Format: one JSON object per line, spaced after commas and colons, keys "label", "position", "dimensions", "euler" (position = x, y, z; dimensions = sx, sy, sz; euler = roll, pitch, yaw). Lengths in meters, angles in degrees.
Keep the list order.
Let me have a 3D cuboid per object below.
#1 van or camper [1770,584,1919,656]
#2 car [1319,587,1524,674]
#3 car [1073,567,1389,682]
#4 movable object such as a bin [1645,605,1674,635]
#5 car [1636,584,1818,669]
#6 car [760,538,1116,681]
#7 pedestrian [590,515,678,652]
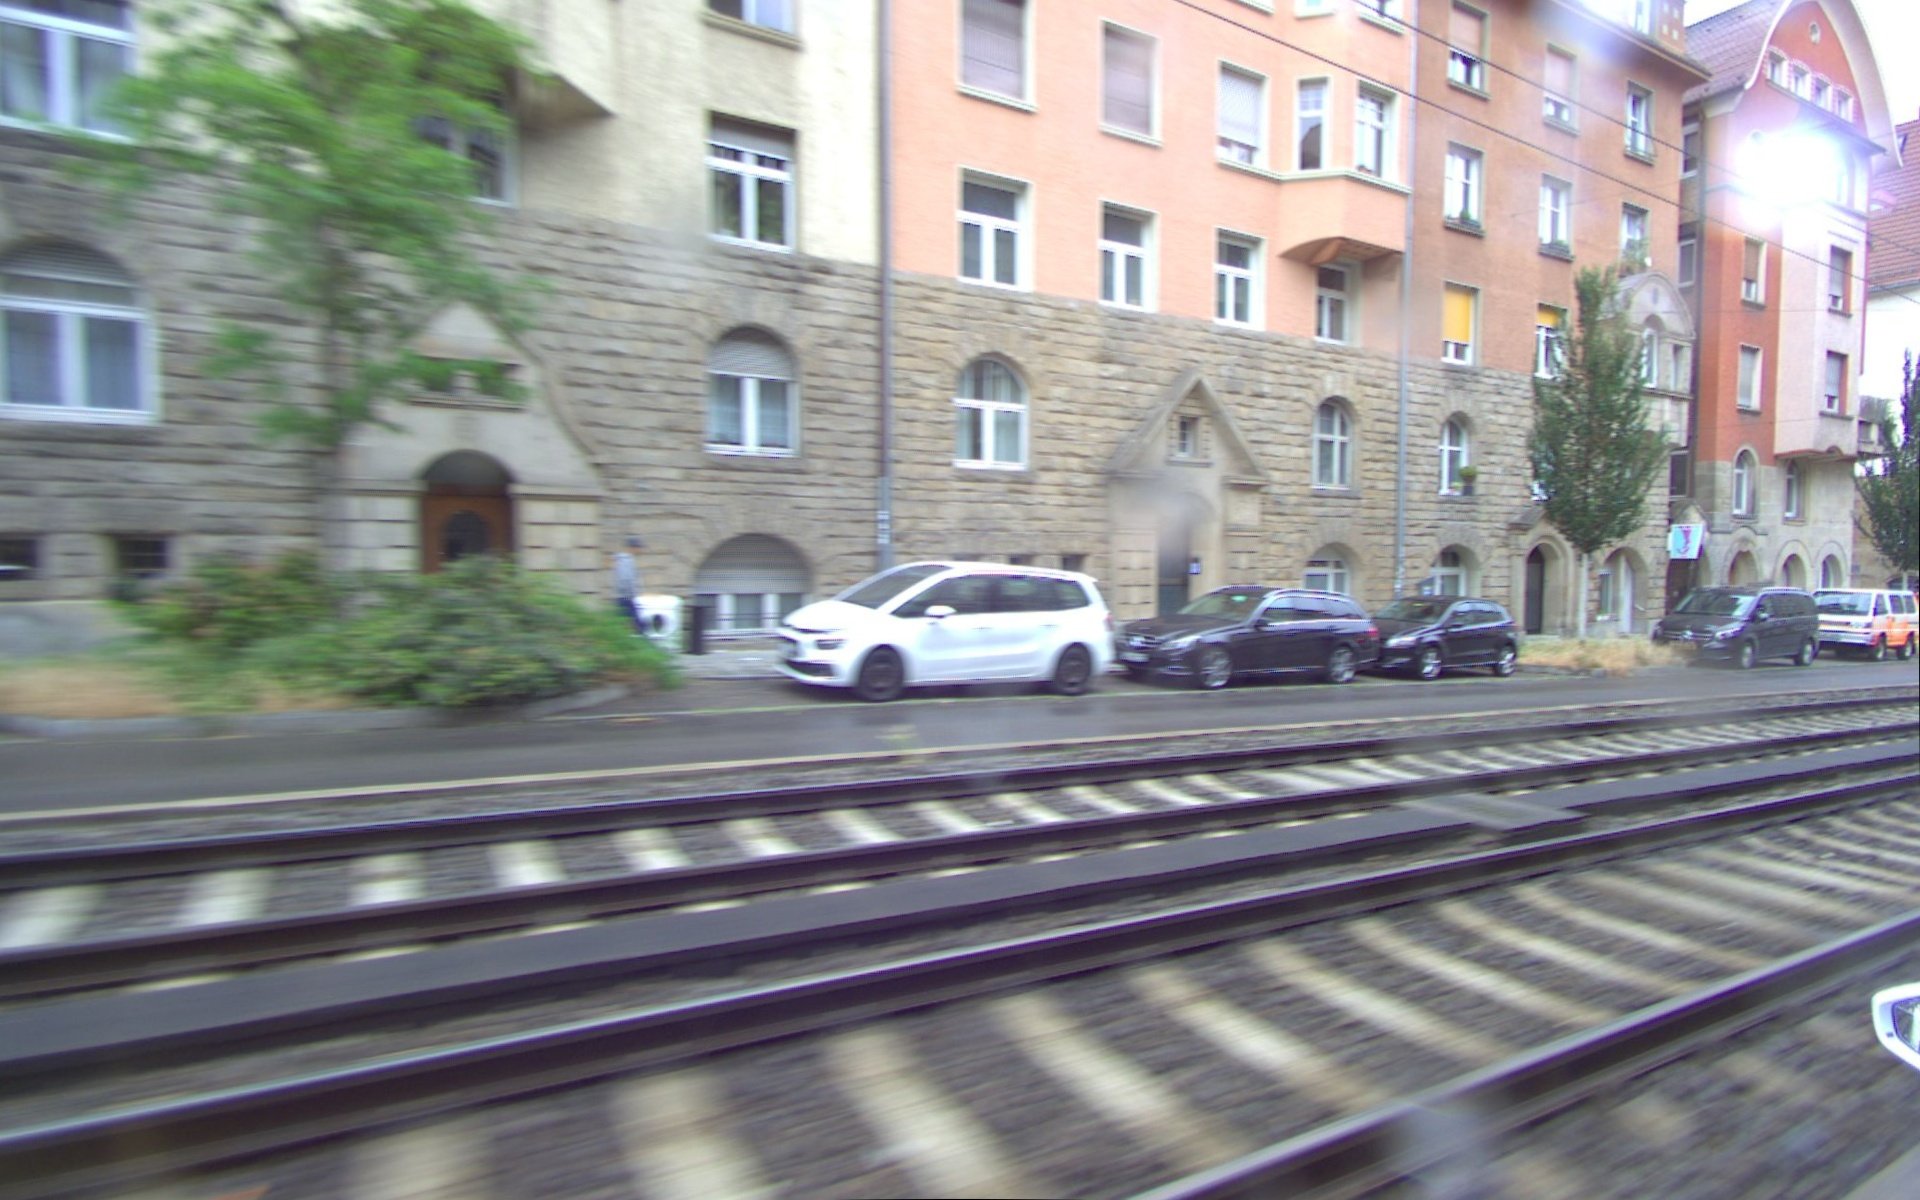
{"label": "van or camper", "position": [25.392, 0.624, 28.776], "dimensions": [4.647, 1.926, 1.983], "euler": [2, -3, -32]}
{"label": "car", "position": [8.618, 0.546, 18.676], "dimensions": [3.842, 1.417, 1.632], "euler": [1, 2, -33]}
{"label": "car", "position": [4.402, 0.366, 16.122], "dimensions": [4.916, 1.530, 1.983], "euler": [1, 3, -31]}
{"label": "movable object such as a bin", "position": [22.971, 0.657, 32.985], "dimensions": [0.513, 0.968, 0.571], "euler": [1, 2, -30]}
{"label": "car", "position": [18.980, 0.650, 24.821], "dimensions": [4.645, 1.927, 1.983], "euler": [2, 0, -31]}
{"label": "car", "position": [-0.235, 0.158, 13.168], "dimensions": [4.300, 1.611, 1.776], "euler": [3, 1, -30]}
{"label": "pedestrian", "position": [-4.435, -0.227, 13.629], "dimensions": [0.913, 1.777, 1.002], "euler": [1, 3, -29]}
